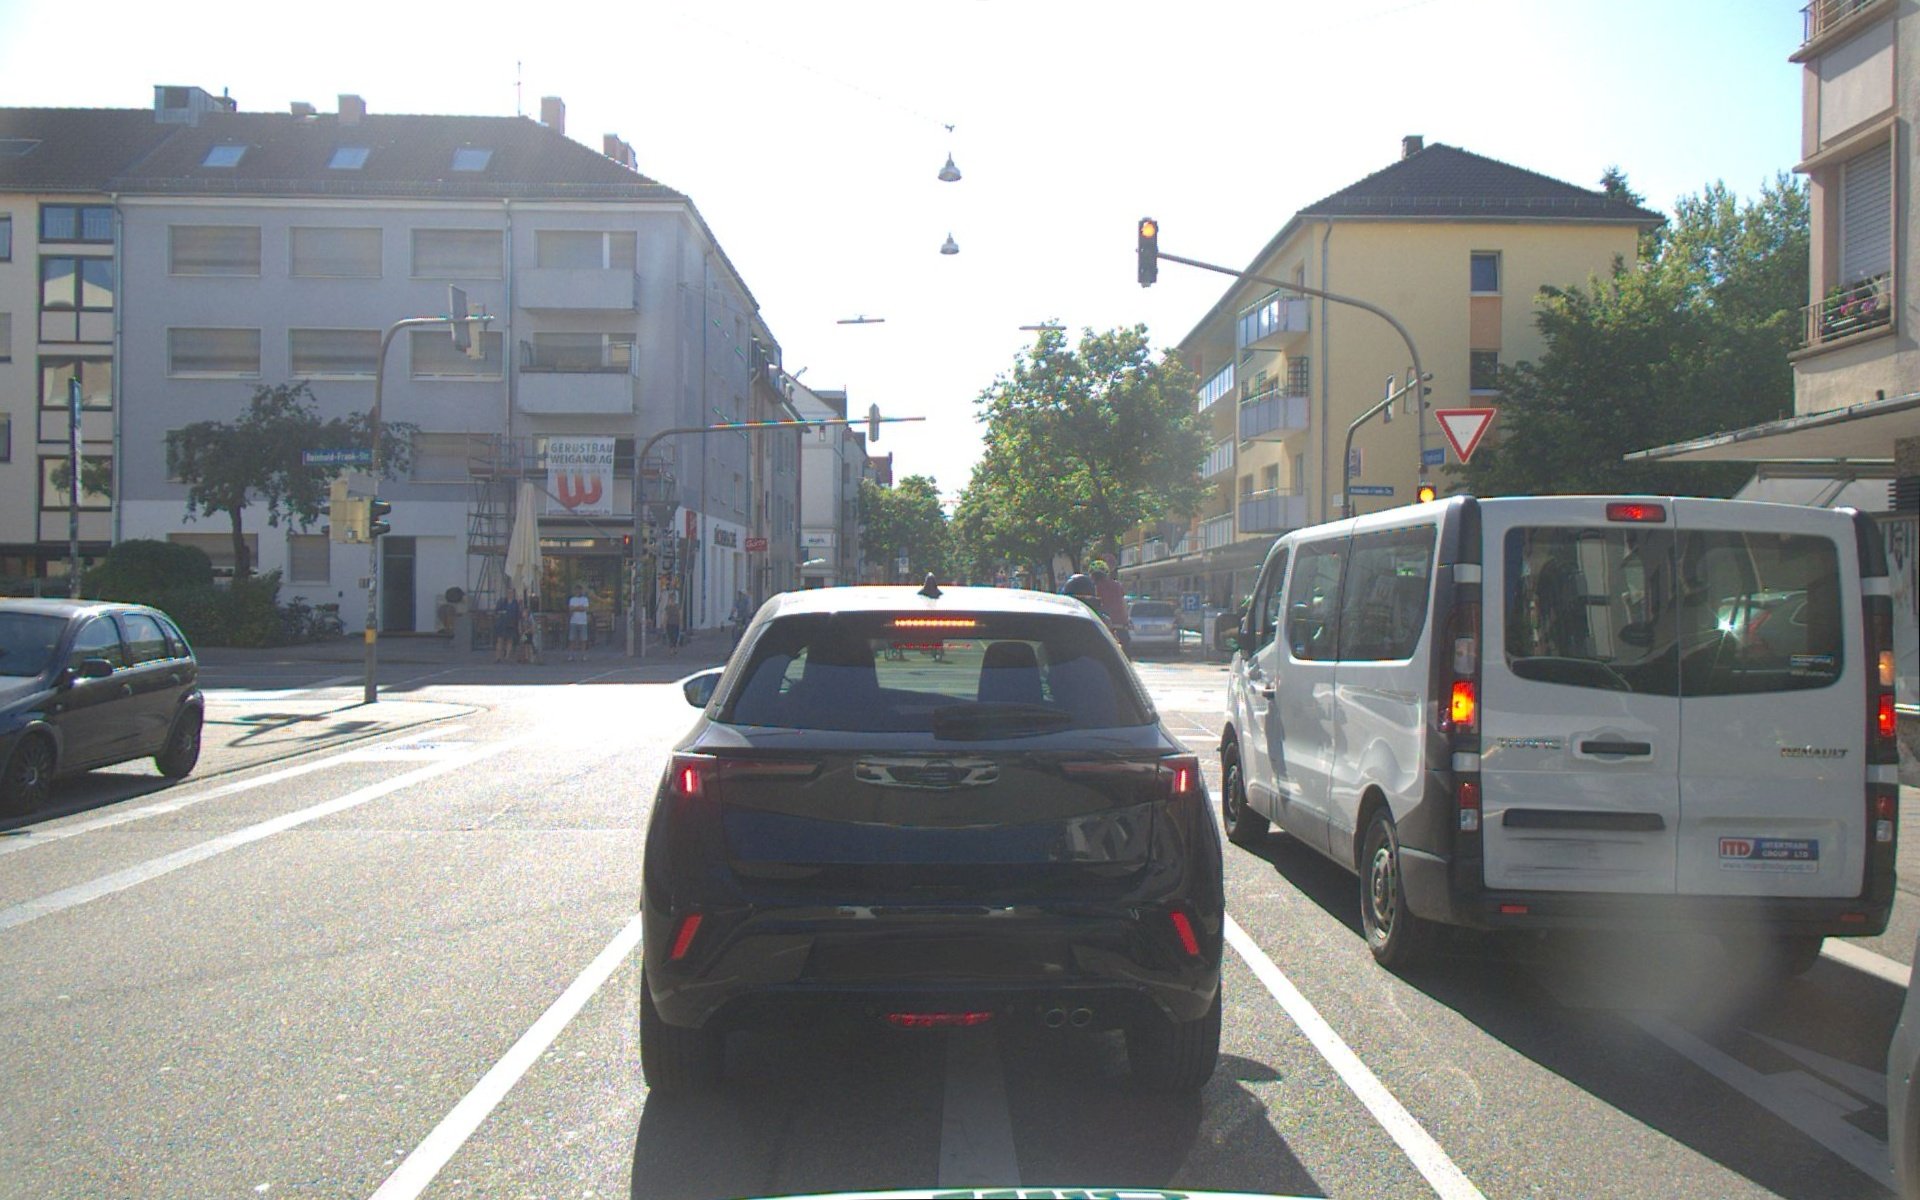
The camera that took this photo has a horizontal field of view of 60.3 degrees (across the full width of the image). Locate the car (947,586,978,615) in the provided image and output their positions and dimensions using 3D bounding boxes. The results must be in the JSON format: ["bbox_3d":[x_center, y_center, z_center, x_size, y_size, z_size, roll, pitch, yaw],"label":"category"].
[{"bbox_3d":[0.126,0.020,101.387,1.863,1.758,4.000,0,0,0],"label":"car"}]

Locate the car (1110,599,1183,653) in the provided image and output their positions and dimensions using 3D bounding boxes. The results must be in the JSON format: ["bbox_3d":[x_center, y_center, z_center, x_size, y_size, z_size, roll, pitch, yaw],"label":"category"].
[{"bbox_3d":[5.298,0.713,47.320,1.601,1.458,3.956,0,0,-1],"label":"car"}]

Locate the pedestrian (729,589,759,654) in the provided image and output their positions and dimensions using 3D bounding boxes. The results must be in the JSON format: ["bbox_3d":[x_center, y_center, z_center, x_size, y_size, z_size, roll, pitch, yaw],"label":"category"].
[{"bbox_3d":[-5.675,0.556,43.435,0.692,1.707,0.802,0,0,-3],"label":"pedestrian"}]

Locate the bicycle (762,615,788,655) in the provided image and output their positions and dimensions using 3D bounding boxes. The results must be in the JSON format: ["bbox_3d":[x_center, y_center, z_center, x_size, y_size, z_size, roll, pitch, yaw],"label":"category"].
[{"bbox_3d":[-4.900,0.904,43.905,0.511,1.010,2.338,0,0,-3],"label":"bicycle"}]

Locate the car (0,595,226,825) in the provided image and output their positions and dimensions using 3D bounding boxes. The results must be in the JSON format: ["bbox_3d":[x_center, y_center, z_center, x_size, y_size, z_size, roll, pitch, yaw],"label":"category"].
[{"bbox_3d":[-7.104,0.721,12.383,1.584,1.450,3.709,2,0,-1],"label":"car"}]

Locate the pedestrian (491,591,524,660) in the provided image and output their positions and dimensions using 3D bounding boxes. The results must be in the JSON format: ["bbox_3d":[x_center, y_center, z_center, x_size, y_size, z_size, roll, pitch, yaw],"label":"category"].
[{"bbox_3d":[-10.189,0.563,37.246,0.573,1.547,0.649,0,0,-4],"label":"pedestrian"}]

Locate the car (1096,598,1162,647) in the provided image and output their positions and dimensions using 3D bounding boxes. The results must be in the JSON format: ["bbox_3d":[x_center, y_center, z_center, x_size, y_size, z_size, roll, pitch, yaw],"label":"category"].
[{"bbox_3d":[5.271,0.678,51.995,1.601,1.458,3.999,0,0,-1],"label":"car"}]

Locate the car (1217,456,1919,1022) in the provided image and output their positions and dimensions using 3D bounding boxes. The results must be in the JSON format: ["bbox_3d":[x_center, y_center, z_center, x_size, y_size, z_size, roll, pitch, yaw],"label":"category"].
[{"bbox_3d":[2.734,0.505,8.497,1.953,2.014,4.894,2,0,-1],"label":"car"}]

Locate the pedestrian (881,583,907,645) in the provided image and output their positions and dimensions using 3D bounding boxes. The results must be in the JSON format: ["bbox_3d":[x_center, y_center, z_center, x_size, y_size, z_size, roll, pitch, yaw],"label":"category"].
[{"bbox_3d":[-1.750,0.367,43.795,0.666,1.634,0.762,0,0,-3],"label":"pedestrian"}]

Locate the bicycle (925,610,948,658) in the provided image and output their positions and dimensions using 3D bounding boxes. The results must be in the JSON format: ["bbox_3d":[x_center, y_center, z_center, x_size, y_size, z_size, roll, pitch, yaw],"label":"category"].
[{"bbox_3d":[-0.602,0.853,42.220,0.511,1.167,2.169,0,0,-3],"label":"bicycle"}]

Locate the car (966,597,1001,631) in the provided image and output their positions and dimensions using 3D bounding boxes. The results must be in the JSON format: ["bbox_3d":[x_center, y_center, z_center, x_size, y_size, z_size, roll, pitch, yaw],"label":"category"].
[{"bbox_3d":[1.297,0.744,90.255,1.862,1.758,4.074,0,0,1],"label":"car"}]

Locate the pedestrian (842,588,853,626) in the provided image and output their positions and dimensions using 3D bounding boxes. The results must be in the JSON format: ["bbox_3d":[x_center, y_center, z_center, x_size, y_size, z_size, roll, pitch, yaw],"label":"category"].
[{"bbox_3d":[-5.131,0.327,75.417,0.478,1.719,0.588,0,0,-1],"label":"pedestrian"}]

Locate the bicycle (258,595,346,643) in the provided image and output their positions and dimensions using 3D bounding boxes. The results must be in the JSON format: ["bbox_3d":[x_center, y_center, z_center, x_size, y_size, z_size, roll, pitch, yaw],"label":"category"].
[{"bbox_3d":[-16.913,0.480,42.516,2.067,1.193,0.735,0,0,-25],"label":"bicycle"}]

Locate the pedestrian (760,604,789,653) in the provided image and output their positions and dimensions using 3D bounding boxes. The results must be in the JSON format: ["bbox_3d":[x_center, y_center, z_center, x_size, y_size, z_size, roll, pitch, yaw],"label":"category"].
[{"bbox_3d":[-4.879,0.744,43.480,0.692,1.275,0.802,0,0,-3],"label":"pedestrian"}]

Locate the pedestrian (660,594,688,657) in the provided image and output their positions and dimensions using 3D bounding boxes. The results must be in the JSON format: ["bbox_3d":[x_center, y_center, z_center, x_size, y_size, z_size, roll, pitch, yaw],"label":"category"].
[{"bbox_3d":[-7.102,0.633,41.083,0.605,1.547,0.724,0,0,-4],"label":"pedestrian"}]

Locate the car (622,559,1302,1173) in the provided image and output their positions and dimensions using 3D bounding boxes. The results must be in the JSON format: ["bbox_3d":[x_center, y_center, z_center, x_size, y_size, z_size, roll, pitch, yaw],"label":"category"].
[{"bbox_3d":[-0.072,0.674,6.242,1.735,1.557,3.998,0,0,-3],"label":"car"}]

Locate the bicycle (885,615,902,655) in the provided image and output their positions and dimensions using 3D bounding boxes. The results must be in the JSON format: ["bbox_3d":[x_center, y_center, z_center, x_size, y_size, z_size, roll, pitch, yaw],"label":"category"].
[{"bbox_3d":[-1.772,0.922,43.913,0.434,1.010,2.068,0,0,-3],"label":"bicycle"}]

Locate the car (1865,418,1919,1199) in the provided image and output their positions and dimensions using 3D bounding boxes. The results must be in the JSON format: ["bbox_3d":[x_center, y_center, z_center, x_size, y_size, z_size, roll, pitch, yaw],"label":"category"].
[{"bbox_3d":[3.007,0.586,1.196,1.799,1.901,4.994,0,0,-3],"label":"car"}]

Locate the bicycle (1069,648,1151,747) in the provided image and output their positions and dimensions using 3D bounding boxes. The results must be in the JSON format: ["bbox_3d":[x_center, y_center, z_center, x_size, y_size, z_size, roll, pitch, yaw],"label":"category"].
[{"bbox_3d":[1.574,1.012,17.704,0.565,0.920,2.300,0,0,-3],"label":"bicycle"}]

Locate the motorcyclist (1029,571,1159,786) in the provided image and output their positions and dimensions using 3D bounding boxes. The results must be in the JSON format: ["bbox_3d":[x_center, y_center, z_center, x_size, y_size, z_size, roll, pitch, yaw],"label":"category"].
[{"bbox_3d":[0.982,0.562,12.387,0.846,1.528,1.159,0,0,-2],"label":"motorcyclist"}]

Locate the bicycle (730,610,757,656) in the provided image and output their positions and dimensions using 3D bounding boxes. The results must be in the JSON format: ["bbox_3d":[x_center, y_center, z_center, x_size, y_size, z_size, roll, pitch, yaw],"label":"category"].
[{"bbox_3d":[-5.741,0.859,43.864,0.511,1.167,2.282,0,0,-3],"label":"bicycle"}]

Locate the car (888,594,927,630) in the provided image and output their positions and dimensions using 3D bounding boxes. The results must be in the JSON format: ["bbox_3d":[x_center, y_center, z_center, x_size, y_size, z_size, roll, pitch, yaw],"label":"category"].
[{"bbox_3d":[-2.595,0.587,82.915,1.787,1.758,4.000,0,0,1],"label":"car"}]

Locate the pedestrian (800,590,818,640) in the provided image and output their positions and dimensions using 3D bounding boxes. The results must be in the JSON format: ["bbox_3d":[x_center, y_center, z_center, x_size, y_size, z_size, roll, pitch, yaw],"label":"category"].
[{"bbox_3d":[-5.237,0.504,57.381,0.558,1.719,0.588,0,0,-1],"label":"pedestrian"}]

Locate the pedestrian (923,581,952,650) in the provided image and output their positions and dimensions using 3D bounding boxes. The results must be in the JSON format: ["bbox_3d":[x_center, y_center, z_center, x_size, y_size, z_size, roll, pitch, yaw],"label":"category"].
[{"bbox_3d":[-0.573,0.398,42.112,0.692,1.731,0.802,0,0,-3],"label":"pedestrian"}]

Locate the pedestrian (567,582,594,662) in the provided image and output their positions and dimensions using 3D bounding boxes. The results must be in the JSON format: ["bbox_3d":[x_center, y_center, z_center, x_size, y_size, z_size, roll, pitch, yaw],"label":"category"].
[{"bbox_3d":[-8.703,0.506,37.904,0.550,1.806,0.582,1,0,-9],"label":"pedestrian"}]

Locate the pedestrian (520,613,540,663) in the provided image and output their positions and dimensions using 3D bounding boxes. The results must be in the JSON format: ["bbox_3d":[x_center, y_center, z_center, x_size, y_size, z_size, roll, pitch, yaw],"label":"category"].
[{"bbox_3d":[-9.698,0.847,37.297,0.348,1.111,0.461,0,0,-4],"label":"pedestrian"}]

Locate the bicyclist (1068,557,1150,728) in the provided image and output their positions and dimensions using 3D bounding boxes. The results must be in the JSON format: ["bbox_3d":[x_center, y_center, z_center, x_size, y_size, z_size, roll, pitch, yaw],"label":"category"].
[{"bbox_3d":[1.571,0.434,17.608,0.675,1.742,1.413,0,0,-3],"label":"bicyclist"}]

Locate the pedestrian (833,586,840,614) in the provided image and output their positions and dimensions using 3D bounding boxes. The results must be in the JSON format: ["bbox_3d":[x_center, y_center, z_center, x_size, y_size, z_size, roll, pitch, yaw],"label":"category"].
[{"bbox_3d":[-7.607,0.005,101.913,0.394,1.704,0.417,0,0,-1],"label":"pedestrian"}]

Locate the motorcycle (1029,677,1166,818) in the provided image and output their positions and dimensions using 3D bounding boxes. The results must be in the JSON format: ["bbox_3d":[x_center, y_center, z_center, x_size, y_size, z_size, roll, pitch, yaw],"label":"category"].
[{"bbox_3d":[0.971,1.045,12.168,0.808,0.860,1.884,0,0,-1],"label":"motorcycle"}]
